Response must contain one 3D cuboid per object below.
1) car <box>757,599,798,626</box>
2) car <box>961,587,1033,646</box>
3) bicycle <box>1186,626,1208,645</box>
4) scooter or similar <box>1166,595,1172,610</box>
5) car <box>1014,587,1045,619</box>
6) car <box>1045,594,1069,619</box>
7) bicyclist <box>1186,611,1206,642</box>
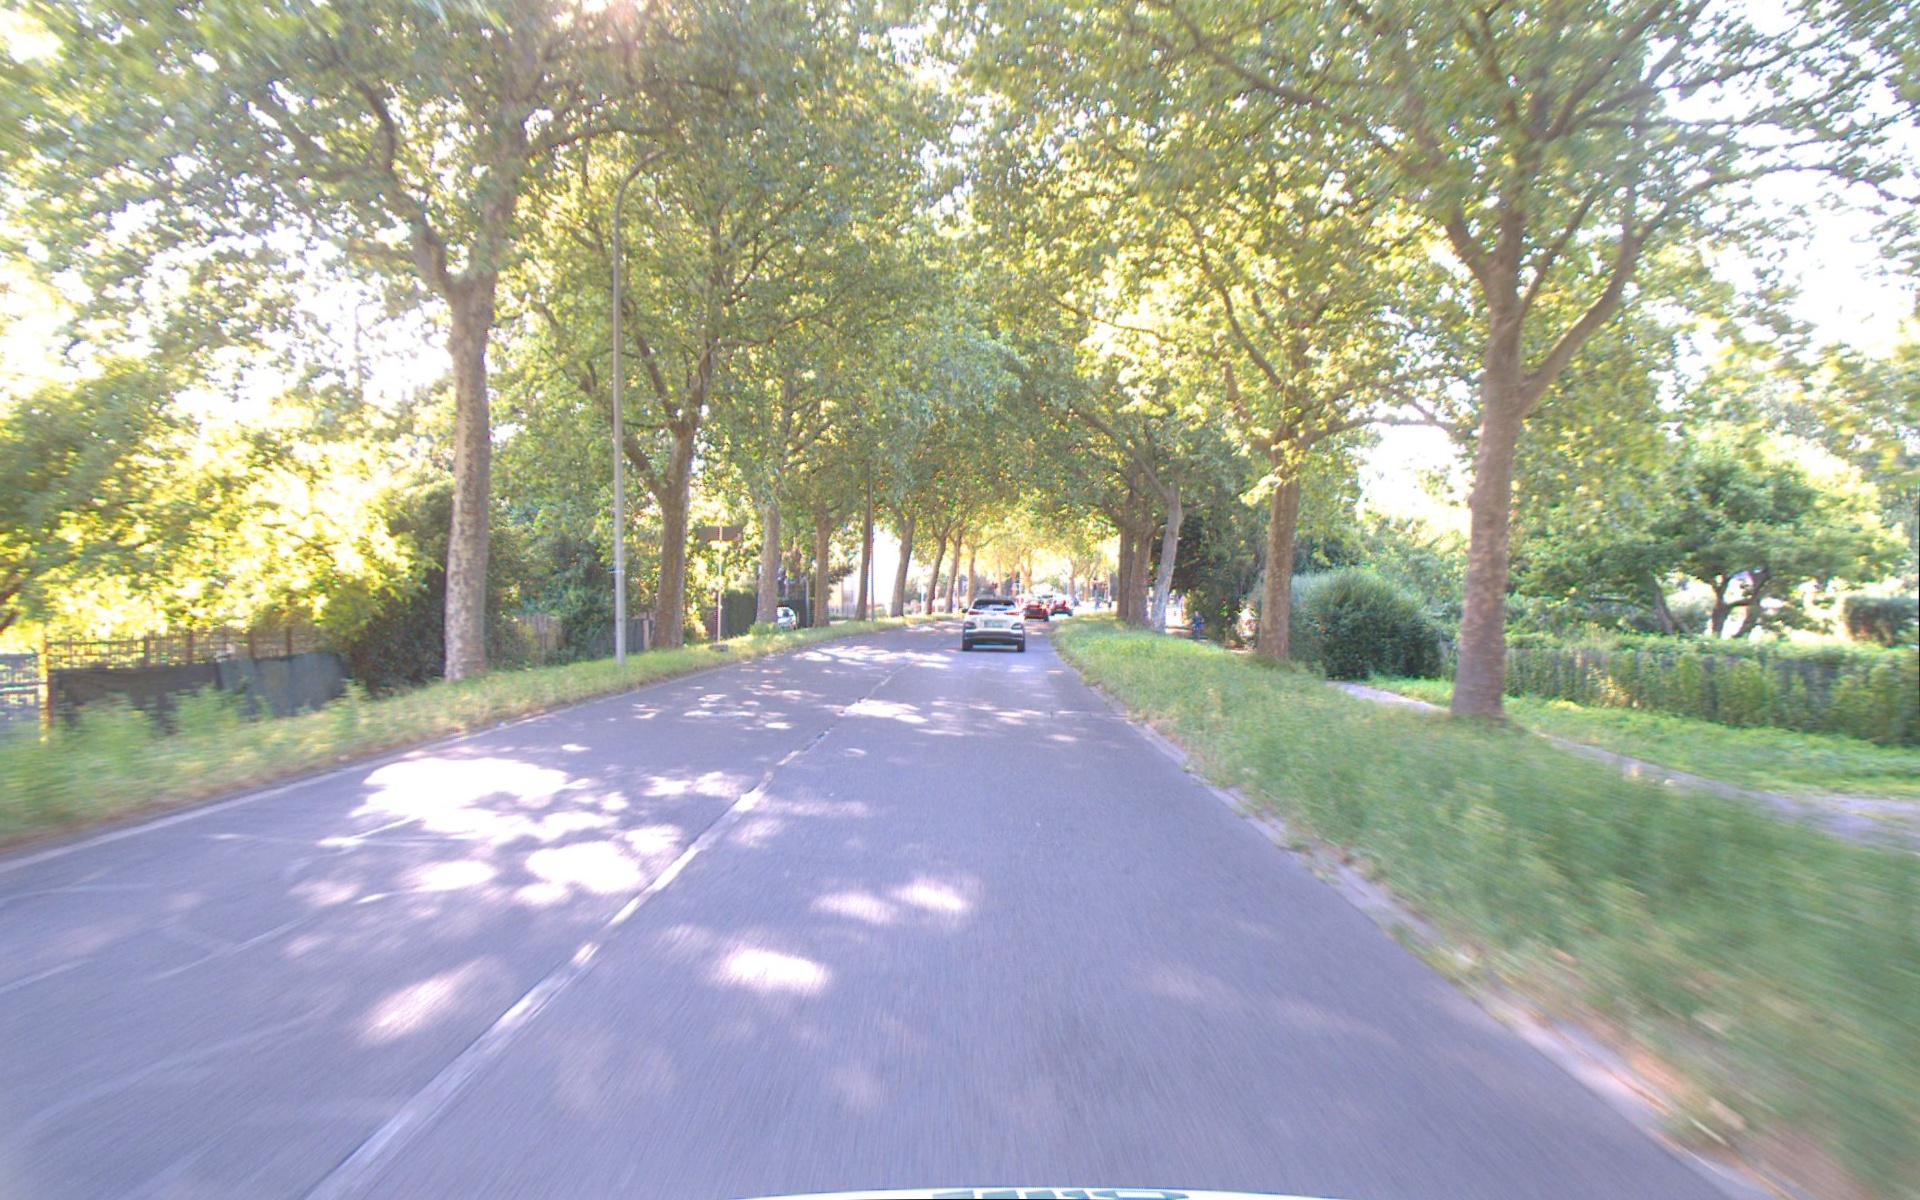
[{"bbox_3d":[-9.771,0.671,88.681,1.716,1.327,4.001,-1,1,1],"label":"car"},{"bbox_3d":[1.091,0.467,47.765,1.952,1.602,4.001,1,0,2],"label":"car"},{"bbox_3d":[10.774,1.627,75.217,0.542,0.831,1.886,1,0,-6],"label":"bicycle"},{"bbox_3d":[18.689,0.236,147.831,0.537,1.280,2.315,1,-1,7],"label":"scooter or similar"},{"bbox_3d":[4.553,0.213,107.524,1.952,2.049,4.001,1,0,3],"label":"car"},{"bbox_3d":[8.201,0.570,139.012,1.952,2.049,4.002,1,0,4],"label":"car"},{"bbox_3d":[10.758,1.202,75.467,0.719,1.390,0.770,1,-1,-5],"label":"bicyclist"}]
